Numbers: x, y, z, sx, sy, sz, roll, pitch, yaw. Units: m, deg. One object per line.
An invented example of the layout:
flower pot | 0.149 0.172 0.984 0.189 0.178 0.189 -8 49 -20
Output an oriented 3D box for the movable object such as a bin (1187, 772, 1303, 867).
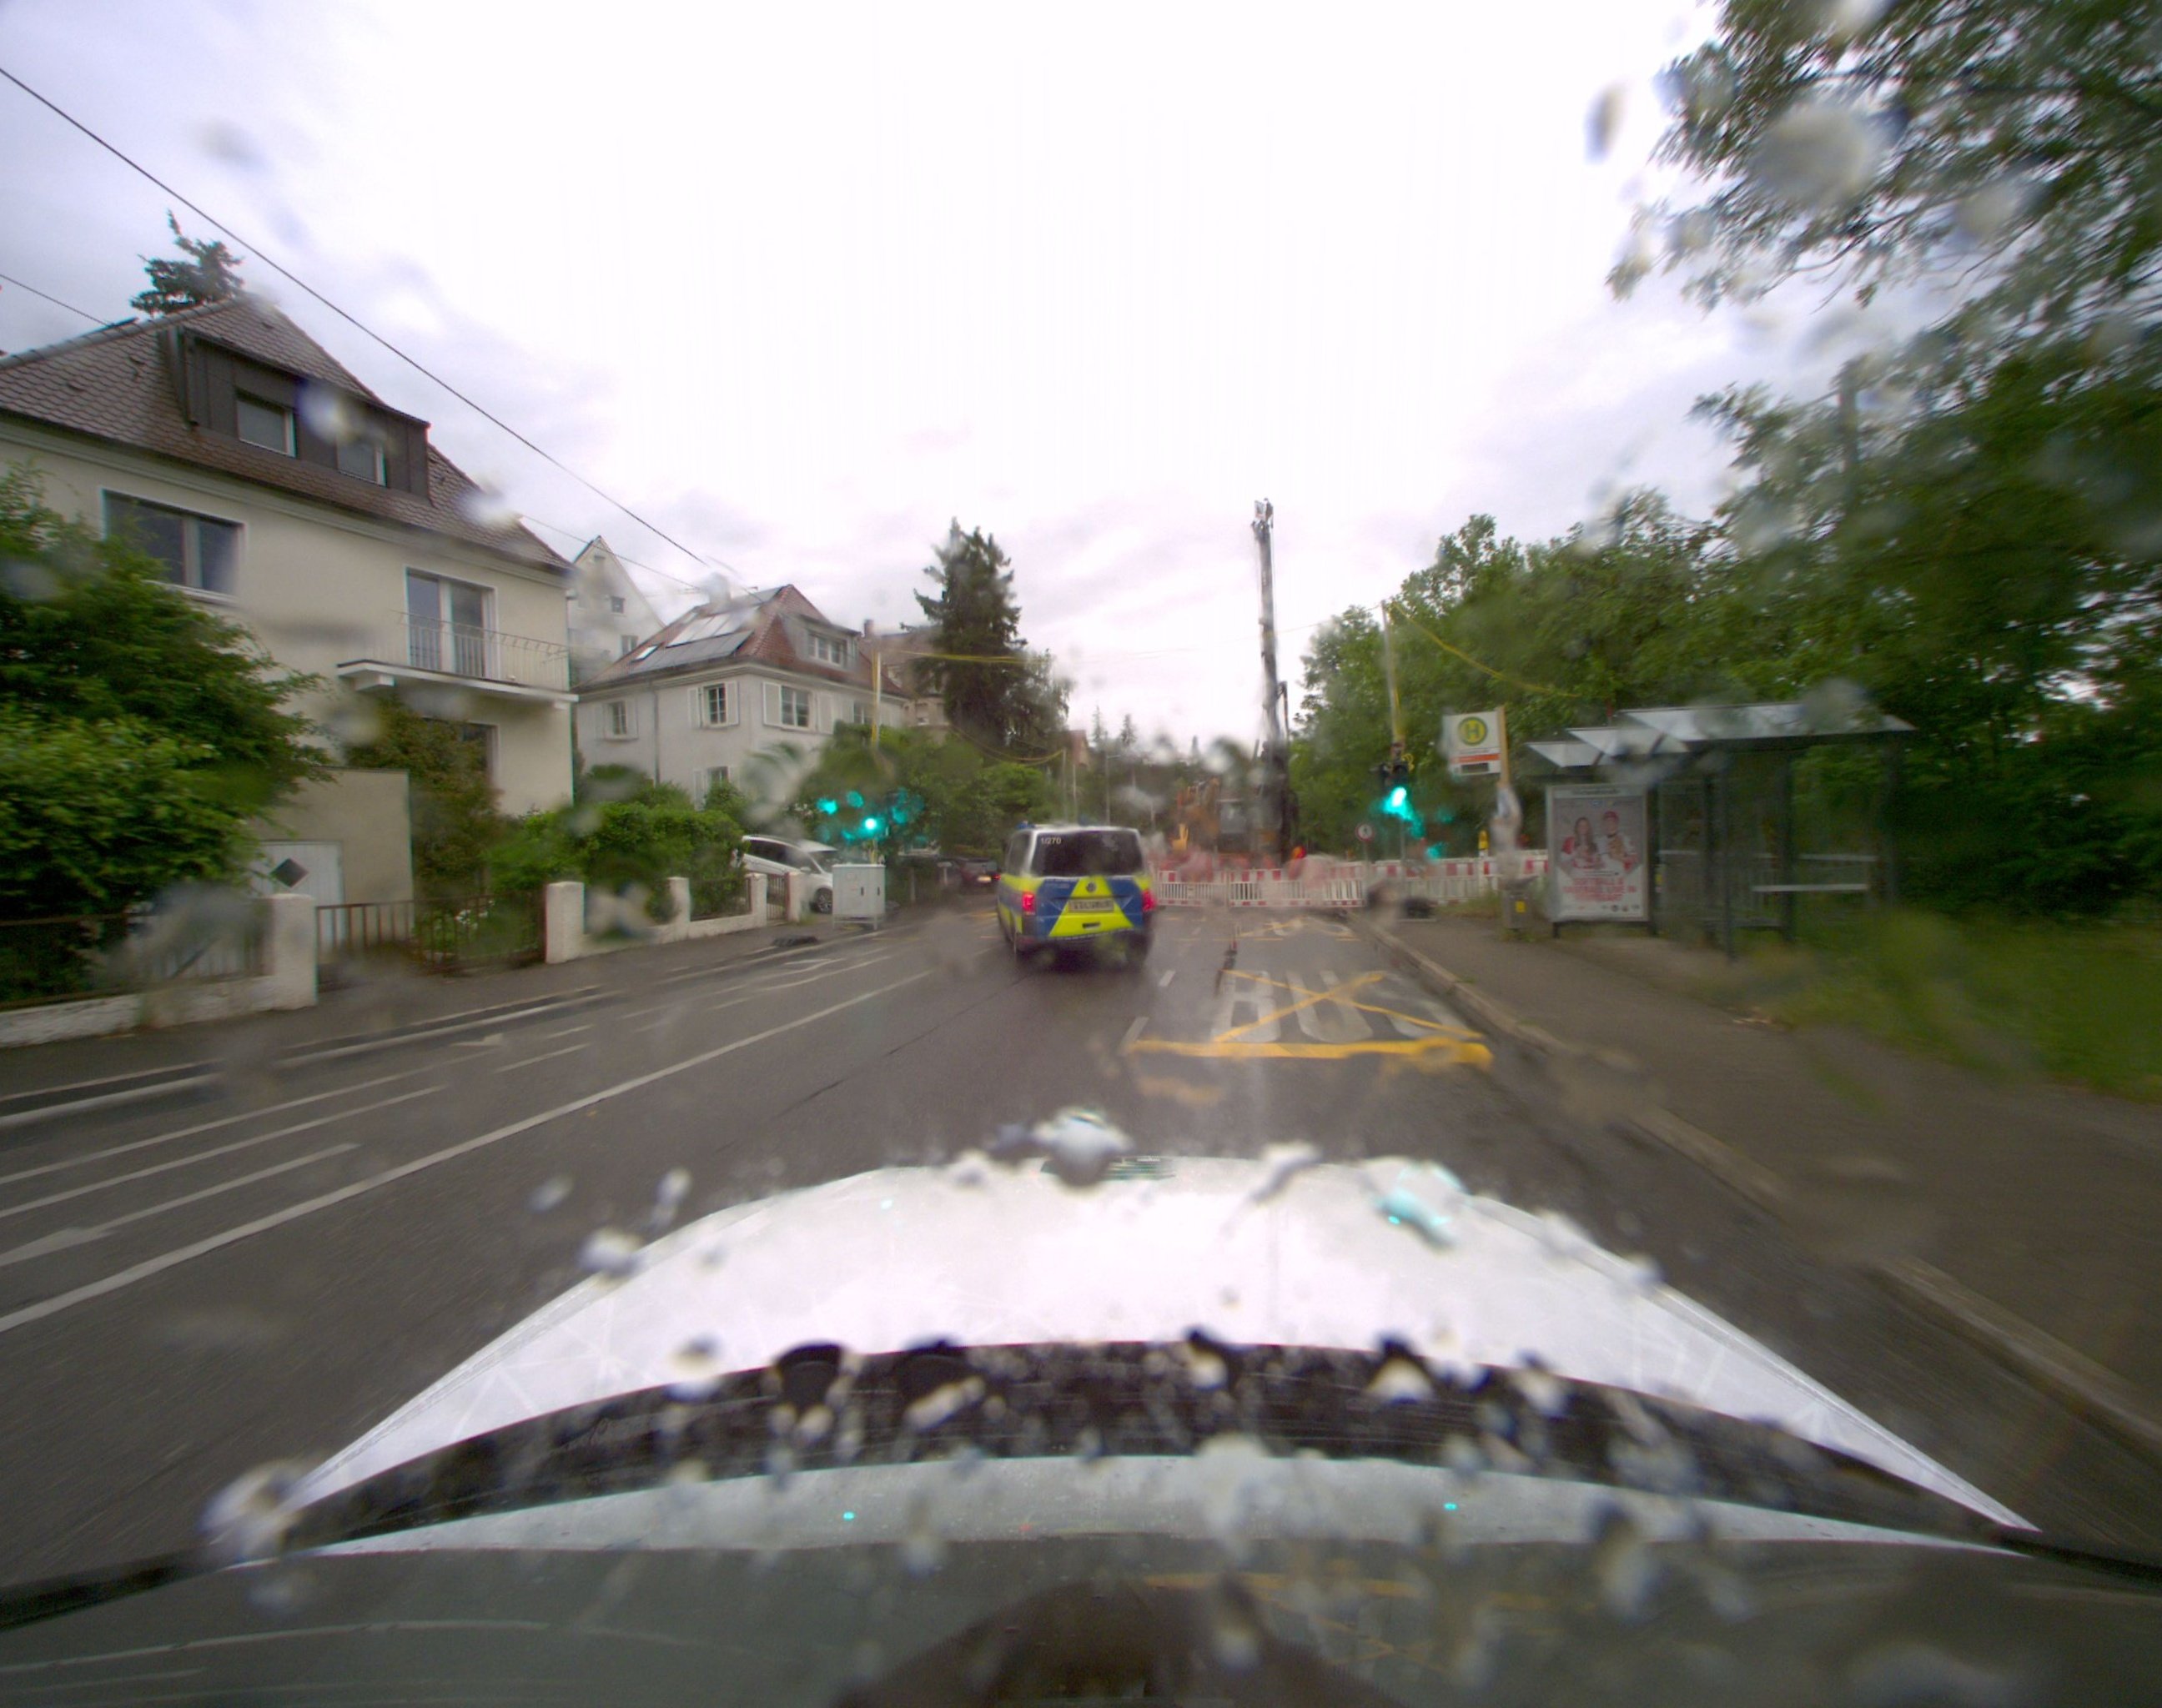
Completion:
movable object such as a bin | 9.898 -1.907 48.659 3.646 5.066 7.208 -3 -2 39

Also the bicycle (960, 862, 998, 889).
bicycle | -4.358 0.904 34.643 1.604 1.131 0.445 -1 -1 24

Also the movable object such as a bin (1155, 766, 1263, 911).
movable object such as a bin | 4.251 -0.473 26.268 2.858 4.170 4.505 -2 0 14

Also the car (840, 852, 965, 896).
car | -6.419 0.709 29.322 3.953 1.526 1.950 -1 -1 20

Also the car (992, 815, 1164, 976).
car | -0.261 0.541 12.537 1.908 2.010 4.423 0 -1 -10

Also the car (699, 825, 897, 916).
car | -7.739 0.371 22.233 4.923 1.616 1.874 10 4 21

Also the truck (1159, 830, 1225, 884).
truck | 4.814 0.149 34.931 2.534 2.108 3.314 -2 -1 11

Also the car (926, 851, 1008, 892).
car | -4.557 0.667 32.131 1.792 1.525 3.960 0 -1 -31
